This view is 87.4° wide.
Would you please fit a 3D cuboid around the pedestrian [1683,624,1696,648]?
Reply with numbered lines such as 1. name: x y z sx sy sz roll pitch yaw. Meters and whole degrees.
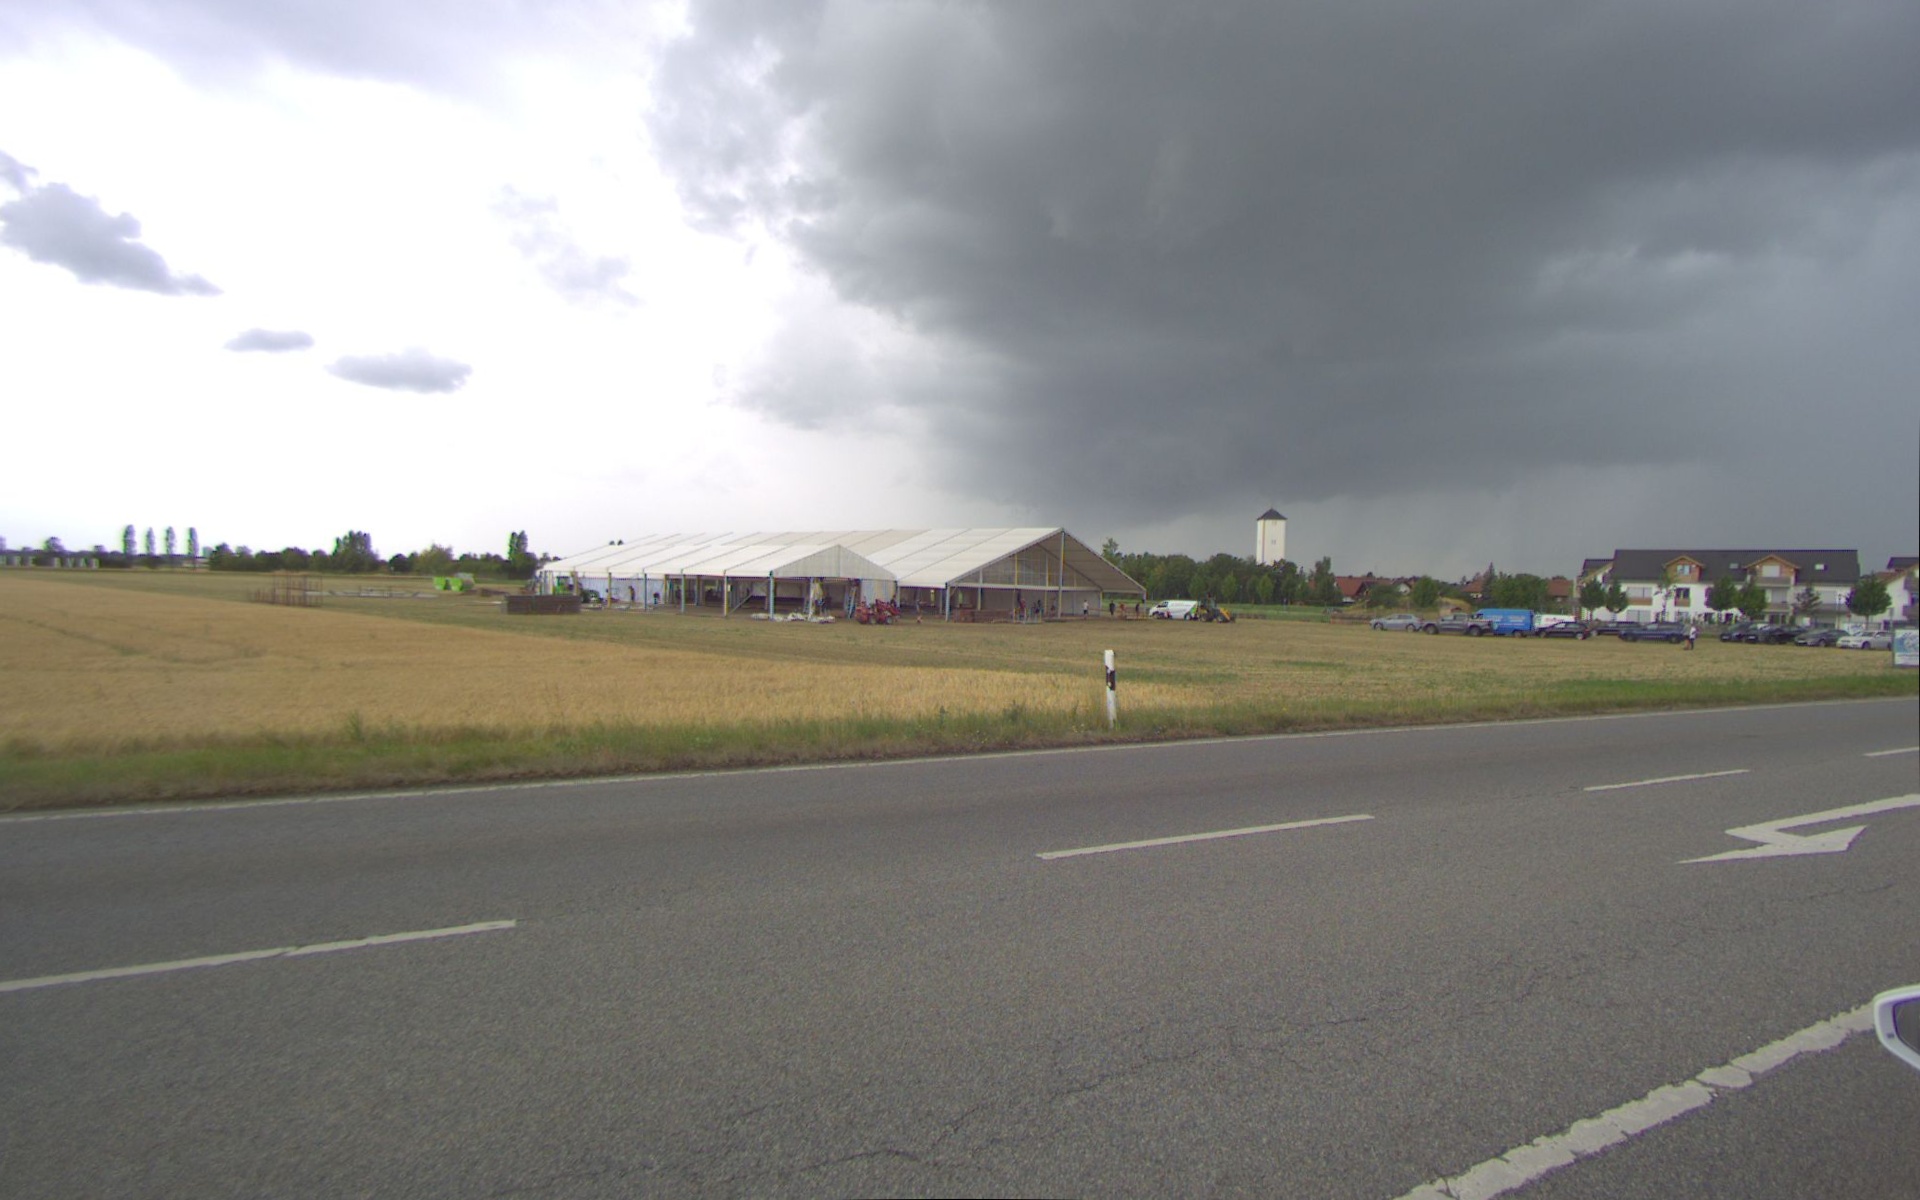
1. pedestrian: 48.154 2.354 66.321 0.583 1.576 0.622 2 0 42

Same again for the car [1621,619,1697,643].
1. car: 54.429 2.390 78.284 4.661 1.720 1.990 2 0 41

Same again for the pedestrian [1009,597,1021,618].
1. pedestrian: 4.928 0.679 89.372 0.721 1.803 0.756 2 0 41

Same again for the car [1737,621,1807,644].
1. car: 63.197 2.522 78.181 4.137 1.650 1.996 1 0 -11

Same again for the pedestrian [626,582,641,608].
1. pedestrian: -26.383 -0.418 81.080 1.007 2.040 0.805 2 0 -10

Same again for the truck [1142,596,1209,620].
1. truck: 21.638 0.766 101.095 5.962 2.246 2.713 2 0 34

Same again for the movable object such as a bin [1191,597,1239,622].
1. movable object such as a bin: 24.098 0.902 94.977 3.930 2.273 1.880 2 0 34

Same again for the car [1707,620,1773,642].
1. car: 63.761 2.513 82.103 4.137 1.650 1.996 1 0 -11

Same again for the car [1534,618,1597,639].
1. car: 49.649 2.299 82.395 4.107 1.539 1.990 2 0 41

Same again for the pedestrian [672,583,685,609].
1. pedestrian: -23.870 -0.346 85.152 0.927 2.130 0.863 1 0 -21

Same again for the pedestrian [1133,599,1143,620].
1. pedestrian: 16.855 0.889 95.251 0.698 1.890 0.623 1 0 -19

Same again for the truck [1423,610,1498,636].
1. truck: 40.388 1.836 81.120 5.156 1.946 2.106 2 0 35

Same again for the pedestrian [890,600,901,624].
1. pedestrian: -4.519 0.851 70.353 0.578 1.649 0.466 1 0 -36

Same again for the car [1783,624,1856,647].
1. car: 64.299 2.633 75.185 4.137 1.556 1.996 1 0 -11

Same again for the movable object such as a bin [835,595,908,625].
1. movable object such as a bin: -5.893 0.663 67.392 2.556 1.889 4.456 2 0 38

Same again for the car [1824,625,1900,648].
1. car: 65.237 2.638 72.640 4.137 1.465 1.996 1 0 -11

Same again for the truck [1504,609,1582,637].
1. truck: 50.421 1.974 86.875 5.496 2.226 2.596 2 0 39

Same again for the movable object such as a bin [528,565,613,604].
1. movable object such as a bin: -35.512 -1.409 91.528 7.469 3.219 4.138 3 1 41

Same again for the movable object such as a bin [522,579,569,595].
1. movable object such as a bin: -56.699 -1.761 137.554 2.529 2.040 5.385 2 1 42

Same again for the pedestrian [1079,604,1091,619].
1. pedestrian: 11.120 0.993 89.444 0.689 1.288 0.682 1 0 -40

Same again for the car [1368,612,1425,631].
1. car: 38.131 1.866 87.753 4.237 1.481 1.886 2 0 35

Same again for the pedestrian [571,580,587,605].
1. pedestrian: -32.189 -0.629 84.884 1.010 2.040 0.802 2 0 42

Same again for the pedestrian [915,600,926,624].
1. pedestrian: -2.714 0.815 69.265 0.547 1.649 0.540 1 0 -40

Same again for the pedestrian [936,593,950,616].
1. pedestrian: -1.477 0.386 88.554 0.870 2.040 0.759 1 0 -39

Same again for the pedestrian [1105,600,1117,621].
1. pedestrian: 13.403 0.934 89.229 0.680 1.799 0.691 2 0 42

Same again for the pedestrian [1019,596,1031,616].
1. pedestrian: 5.814 0.551 90.021 0.689 1.799 0.682 1 0 -40

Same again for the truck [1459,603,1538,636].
1. truck: 44.276 1.591 82.592 5.380 2.478 2.384 2 0 39

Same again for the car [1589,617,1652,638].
1. car: 60.184 2.469 91.589 4.572 1.720 1.990 2 0 41

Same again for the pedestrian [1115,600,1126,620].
1. pedestrian: 14.819 0.947 92.969 0.680 1.799 0.691 2 0 42

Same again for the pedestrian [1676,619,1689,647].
1. pedestrian: 47.257 2.182 65.686 0.673 1.809 0.543 1 0 -41
